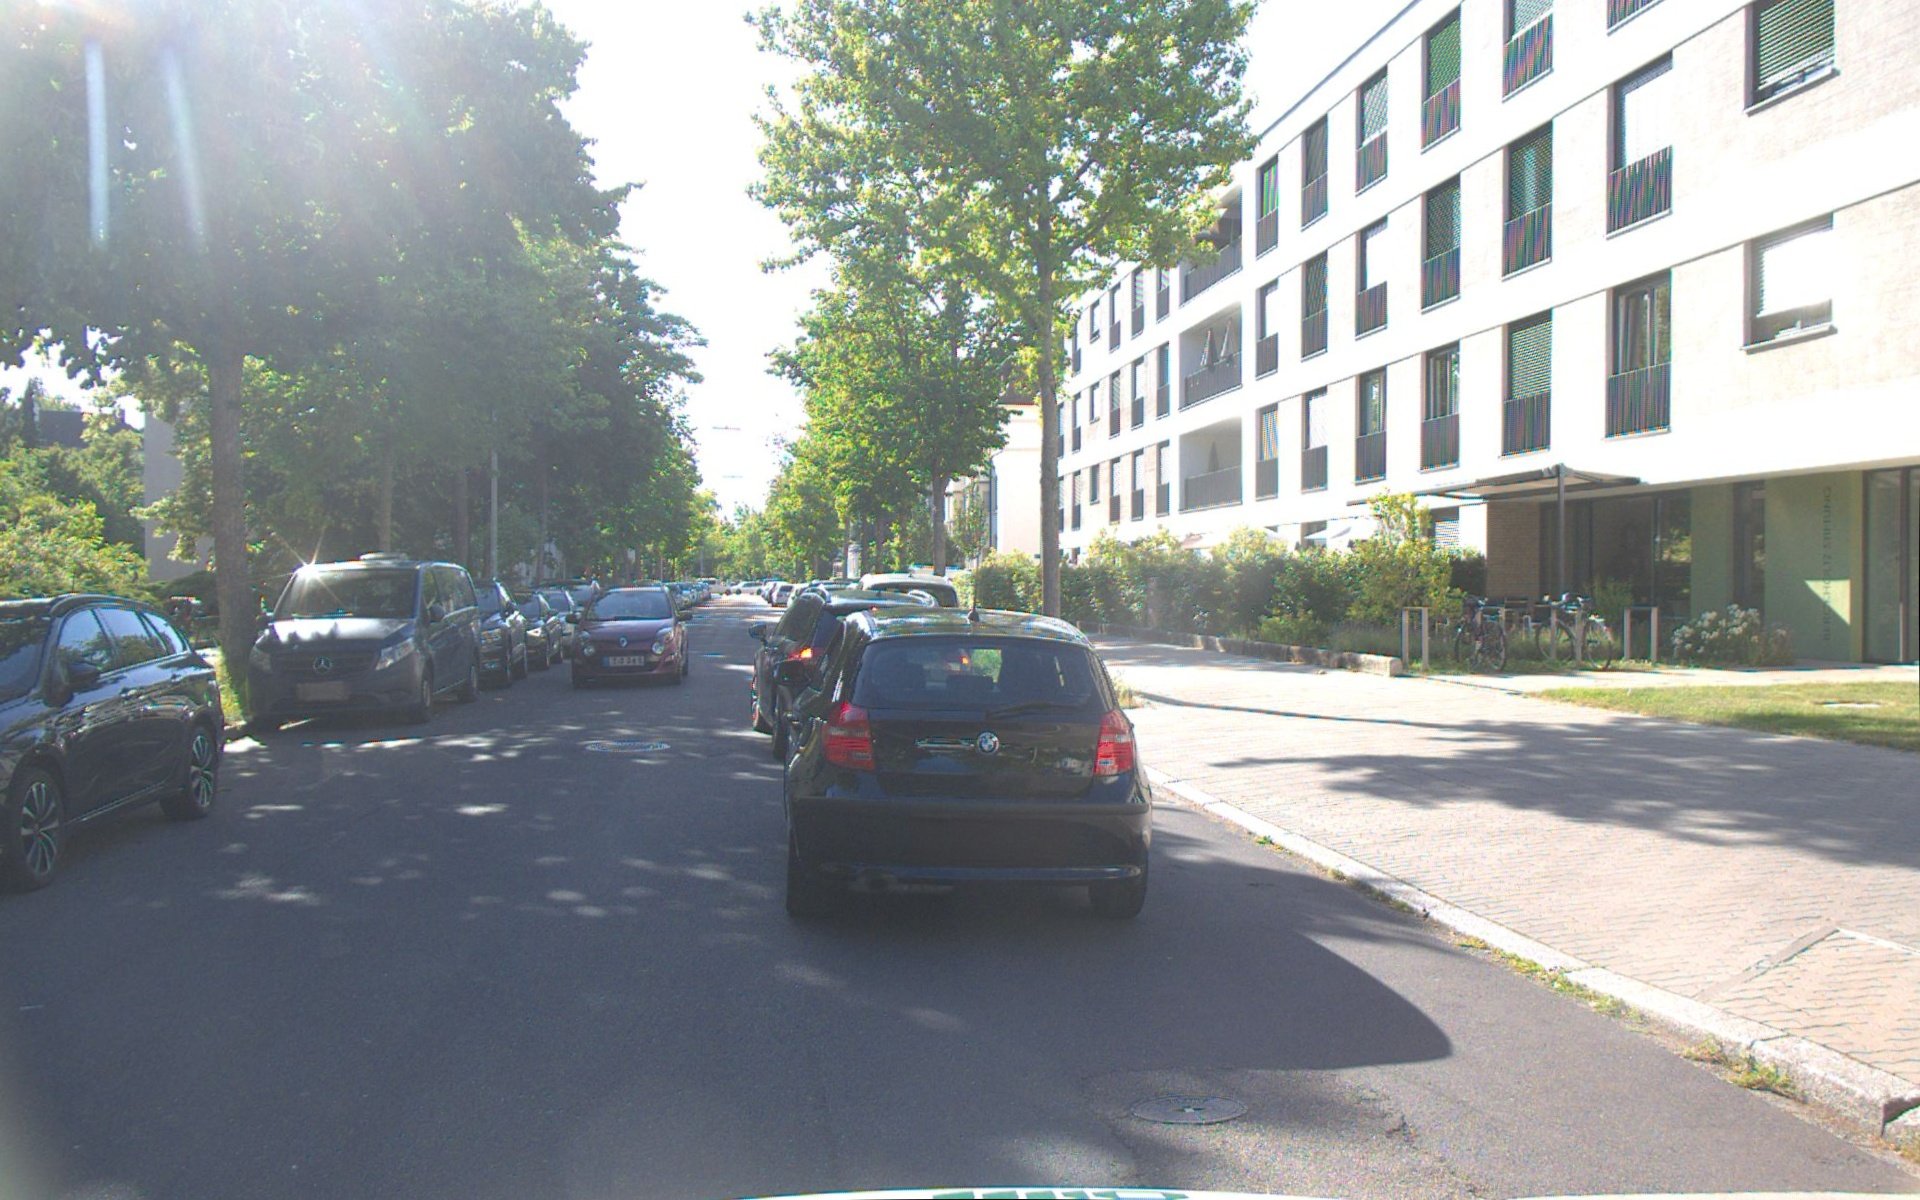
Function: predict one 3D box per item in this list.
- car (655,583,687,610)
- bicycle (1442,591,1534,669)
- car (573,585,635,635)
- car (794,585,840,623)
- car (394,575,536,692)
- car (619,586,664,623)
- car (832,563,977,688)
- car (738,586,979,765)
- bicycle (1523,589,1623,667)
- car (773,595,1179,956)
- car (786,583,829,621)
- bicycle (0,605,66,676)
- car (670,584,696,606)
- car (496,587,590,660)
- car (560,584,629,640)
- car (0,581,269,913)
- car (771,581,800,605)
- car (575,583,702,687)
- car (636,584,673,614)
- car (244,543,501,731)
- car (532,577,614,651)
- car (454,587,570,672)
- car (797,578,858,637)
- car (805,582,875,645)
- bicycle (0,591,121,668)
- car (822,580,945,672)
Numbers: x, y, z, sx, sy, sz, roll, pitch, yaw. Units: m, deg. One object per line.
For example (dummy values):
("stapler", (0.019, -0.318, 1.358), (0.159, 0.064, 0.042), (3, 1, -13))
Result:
("car", (-16.035, -0.209, 91.937), (1.582, 1.416, 3.858), (-1, 1, -8))
("bicycle", (7.628, 0.407, 23.972), (0.536, 1.073, 1.687), (-1, 1, -10))
("car", (-11.092, 0.277, 51.725), (1.582, 1.478, 3.858), (-1, 1, -8))
("car", (-5.670, 0.146, 65.132), (1.688, 1.403, 3.846), (2, 0, -6))
("car", (-7.641, 0.454, 25.839), (1.583, 1.639, 4.220), (-1, 1, -10))
("car", (-13.073, 0.172, 67.948), (1.582, 1.416, 3.858), (-1, 1, -8))
("car", (-0.902, 0.339, 24.212), (1.812, 1.659, 4.405), (1, 0, -6))
("car", (-1.099, 0.609, 15.871), (1.621, 1.450, 3.987), (-1, 1, -14))
("bicycle", (8.948, 0.390, 24.197), (0.536, 1.073, 1.776), (-1, 1, -10))
("car", (-0.107, 0.718, 8.604), (1.618, 1.421, 3.405), (-1, 1, -8))
("car", (-6.453, 0.048, 69.848), (1.688, 1.506, 3.846), (2, 0, -6))
("bicycle", (-14.233, 0.597, 24.998), (0.583, 1.009, 1.925), (-1, 1, -7))
("car", (-18.645, -0.348, 111.409), (1.582, 1.416, 3.858), (-1, 1, -8))
("car", (-9.053, 0.465, 36.129), (1.582, 1.452, 3.719), (-1, 1, -8))
("car", (-10.388, 0.317, 47.175), (1.582, 1.478, 3.858), (-1, 1, -8))
("car", (-5.598, 0.712, 9.858), (1.479, 1.575, 4.770), (-3, 1, -8))
("car", (-11.031, -0.453, 104.786), (1.687, 1.506, 3.848), (-1, 1, -4))
("car", (-4.860, 0.486, 25.320), (1.475, 1.451, 3.176), (-1, 1, -4))
("car", (-14.866, -0.075, 80.574), (1.582, 1.416, 3.858), (-1, 1, -8))
("car", (-6.943, 0.360, 20.141), (1.792, 1.937, 5.134), (-2, 1, -7))
("car", (-9.668, 0.306, 41.526), (1.582, 1.708, 4.226), (-1, 1, -8))
("car", (-8.346, 0.497, 31.092), (1.582, 1.452, 4.051), (-1, 1, -8))
("car", (-4.038, 0.199, 50.120), (1.688, 1.669, 3.846), (2, 0, -6))
("car", (-3.246, 0.318, 44.175), (1.688, 1.555, 3.995), (2, 0, -6))
("bicycle", (-15.309, 0.491, 27.742), (2.112, 1.230, 0.686), (-1, 1, -19))
("car", (-1.447, 0.426, 29.875), (1.663, 1.550, 3.989), (0, 0, -11))
